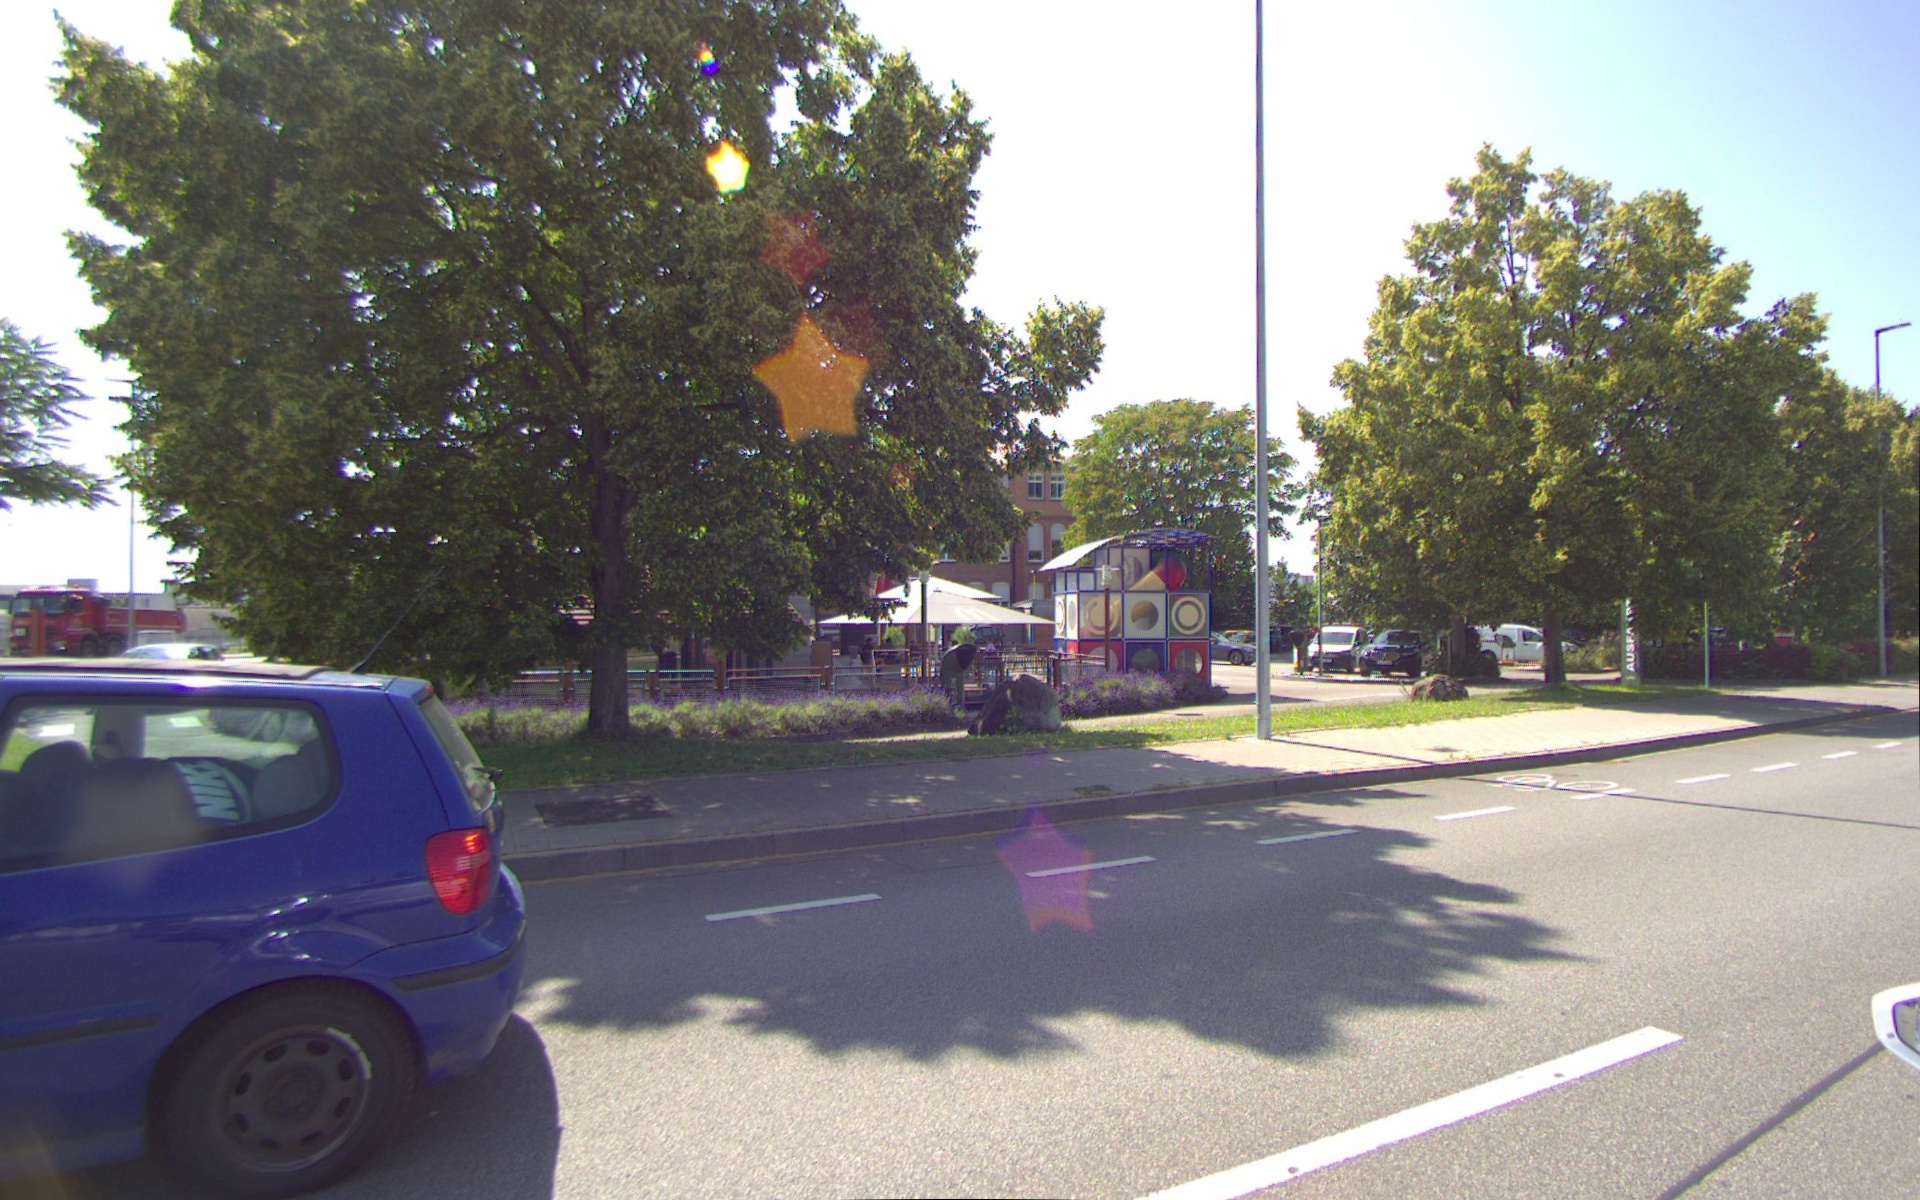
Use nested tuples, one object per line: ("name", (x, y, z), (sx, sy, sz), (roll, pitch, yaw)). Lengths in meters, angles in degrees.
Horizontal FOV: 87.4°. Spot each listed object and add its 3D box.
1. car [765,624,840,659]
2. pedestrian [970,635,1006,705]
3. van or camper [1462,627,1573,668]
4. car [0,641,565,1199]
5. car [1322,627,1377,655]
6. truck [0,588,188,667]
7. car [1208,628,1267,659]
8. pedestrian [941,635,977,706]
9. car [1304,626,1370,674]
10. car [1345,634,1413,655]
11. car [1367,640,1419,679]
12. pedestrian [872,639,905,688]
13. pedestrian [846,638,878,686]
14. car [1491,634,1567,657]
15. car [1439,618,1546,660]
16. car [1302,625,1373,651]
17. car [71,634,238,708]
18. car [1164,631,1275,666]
("car", (-10.401, 2.712, 66.194), (4.724, 2.206, 1.994), (0, -1, -15))
("pedestrian", (0.825, 2.065, 29.920), (0.745, 2.040, 0.828), (0, -1, -33))
("van or camper", (25.300, 2.115, 45.612), (4.215, 1.763, 1.993), (-2, -2, 36))
("car", (-3.235, 0.837, 2.684), (3.948, 1.399, 1.650), (0, -2, -27))
("car", (22.297, 2.344, 57.593), (1.474, 1.546, 3.429), (0, -2, -8))
("truck", (-41.705, 1.307, 48.466), (3.255, 3.431, 9.152), (0, -1, -10))
("car", (13.834, 2.141, 50.032), (1.619, 1.508, 3.650), (-1, -2, 36))
("pedestrian", (-0.038, 2.076, 29.841), (0.745, 2.040, 0.828), (0, -1, -33))
("car", (14.903, 1.919, 39.594), (1.688, 1.758, 4.240), (-1, -2, 31))
("car", (27.390, 2.882, 65.661), (3.929, 1.356, 1.582), (-1, -2, 30))
("car", (15.586, 2.106, 36.272), (1.577, 1.303, 3.999), (-1, -2, 21))
("pedestrian", (-2.246, 1.982, 31.586), (0.745, 1.493, 0.828), (0, -2, -33))
("pedestrian", (-3.146, 1.983, 32.143), (0.745, 1.493, 0.828), (0, -2, -33))
("car", (38.136, 3.011, 67.326), (4.215, 1.457, 1.993), (-2, -2, 36))
("car", (26.857, 1.965, 50.672), (4.663, 2.040, 2.081), (-1, -2, 31))
("car", (24.309, 2.420, 64.746), (3.942, 1.619, 1.789), (-2, -2, 42))
("car", (-19.132, 1.619, 24.091), (1.837, 1.572, 4.170), (0, -2, -20))
("car", (11.346, 2.097, 43.990), (4.314, 1.457, 1.996), (-1, -2, 30))
